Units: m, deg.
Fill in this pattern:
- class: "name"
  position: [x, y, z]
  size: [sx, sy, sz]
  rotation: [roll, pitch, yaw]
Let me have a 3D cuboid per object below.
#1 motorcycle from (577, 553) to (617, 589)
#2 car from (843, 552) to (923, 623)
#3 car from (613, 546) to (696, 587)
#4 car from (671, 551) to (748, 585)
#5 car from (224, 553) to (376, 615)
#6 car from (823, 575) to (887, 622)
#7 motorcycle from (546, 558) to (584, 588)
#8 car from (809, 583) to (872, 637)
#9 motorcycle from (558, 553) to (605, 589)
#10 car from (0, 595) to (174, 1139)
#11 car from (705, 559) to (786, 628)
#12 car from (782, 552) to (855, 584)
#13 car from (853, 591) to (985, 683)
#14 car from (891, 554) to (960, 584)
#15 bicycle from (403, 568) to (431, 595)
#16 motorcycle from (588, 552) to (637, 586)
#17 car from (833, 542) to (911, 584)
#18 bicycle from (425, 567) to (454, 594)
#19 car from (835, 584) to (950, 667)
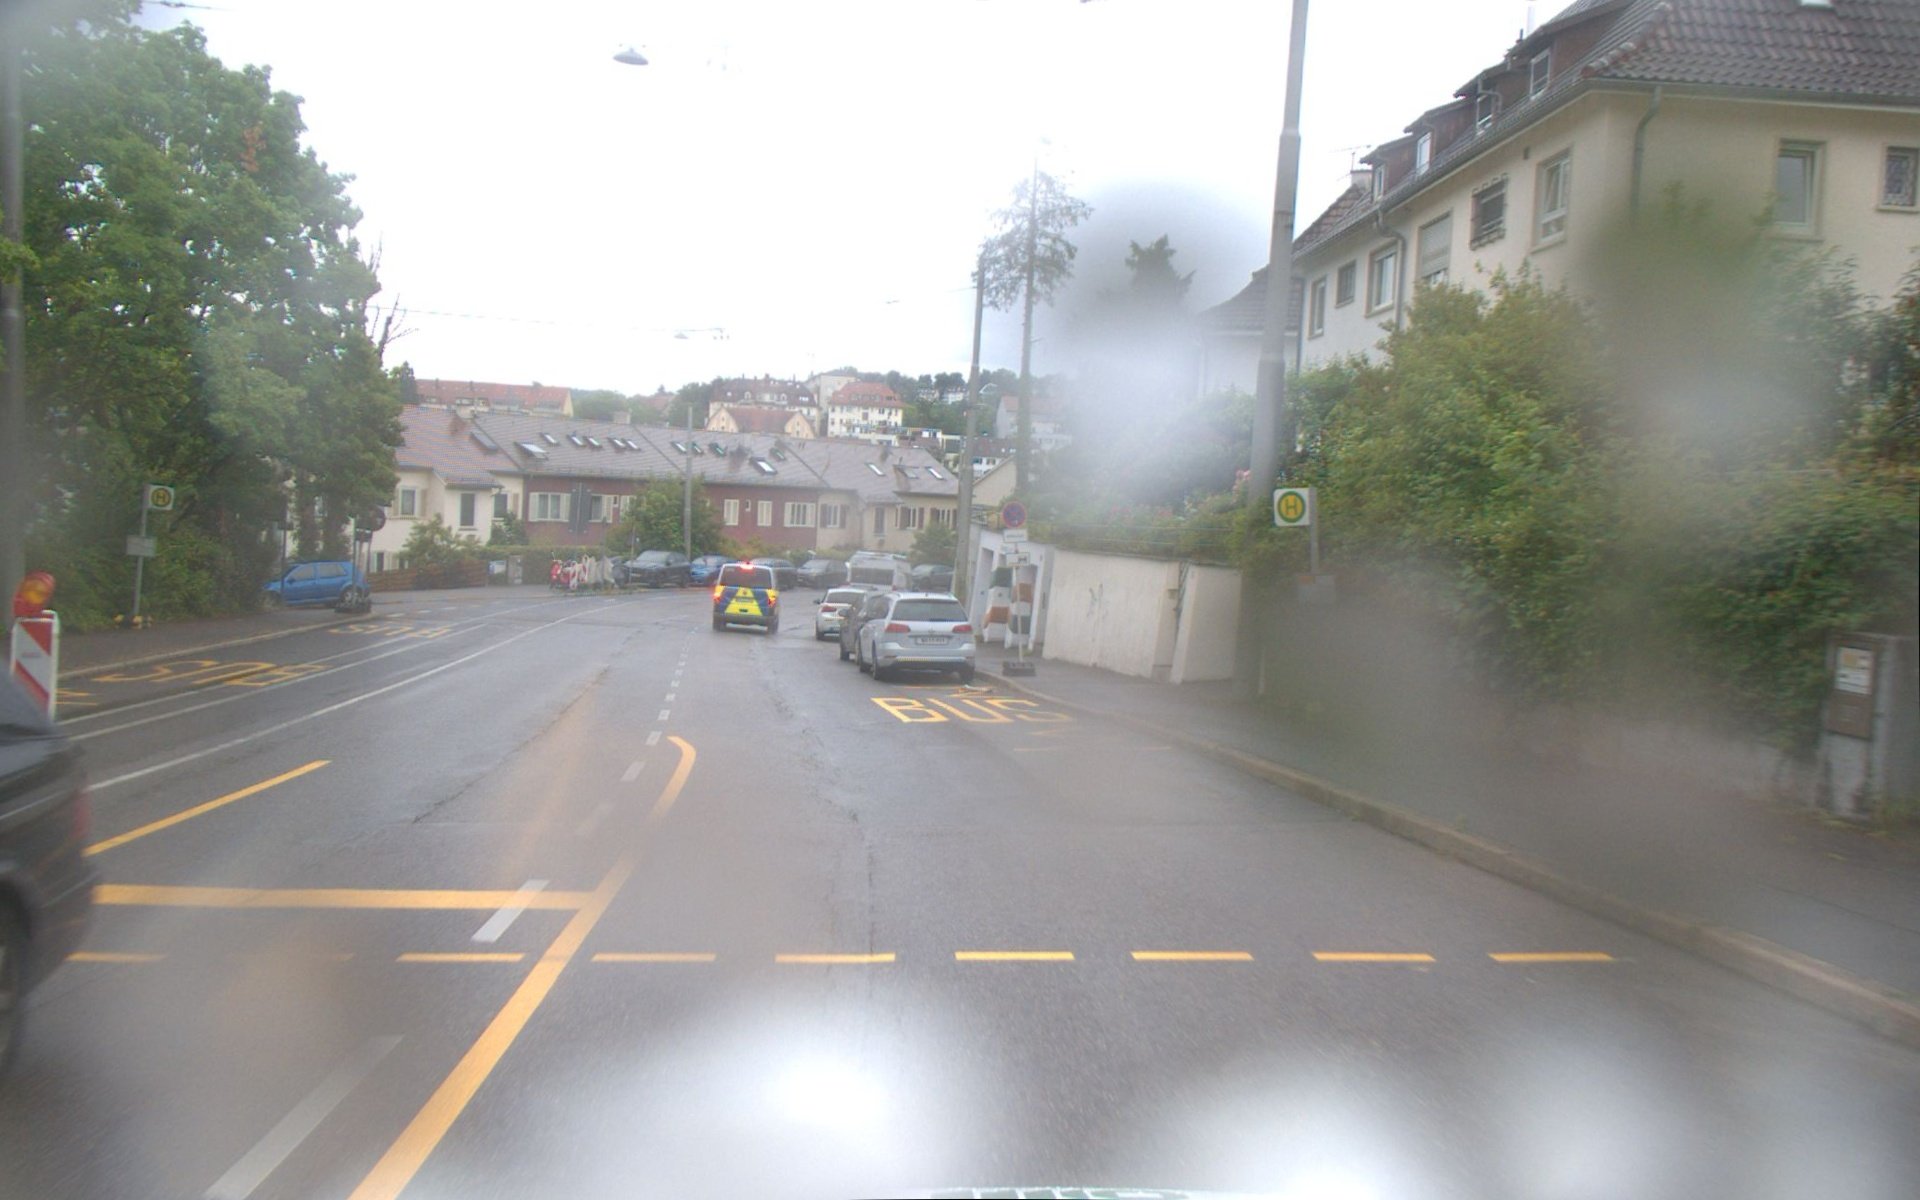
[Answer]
- class: "motorcycle"
  position: [-15.067, -1.202, 68.635]
  size: [1.776, 1.325, 0.610]
  rotation: [8, 4, 41]
- class: "car"
  position: [-2.983, -0.493, 65.439]
  size: [2.054, 2.586, 5.625]
  rotation: [3, 1, 8]
- class: "car"
  position: [-13.661, -1.524, 74.288]
  size: [1.882, 1.603, 4.392]
  rotation: [6, 3, 14]
- class: "car"
  position: [-11.975, -1.558, 79.258]
  size: [1.665, 1.428, 4.475]
  rotation: [6, 4, 19]
- class: "car"
  position: [-20.144, -0.474, 50.566]
  size: [1.812, 1.695, 3.913]
  rotation: [2, -1, 45]
- class: "car"
  position: [-3.781, -0.073, 59.909]
  size: [1.717, 1.521, 4.186]
  rotation: [3, 2, 4]
- class: "motorcycle"
  position: [-15.747, -1.076, 66.001]
  size: [0.499, 1.159, 1.923]
  rotation: [2, 2, 19]
- class: "car"
  position: [-3.505, 0.252, 47.834]
  size: [1.672, 1.439, 4.037]
  rotation: [2, 1, -6]
- class: "motorcycle"
  position: [-15.474, -1.183, 67.677]
  size: [1.764, 1.301, 0.511]
  rotation: [5, 3, 13]
- class: "car"
  position: [-3.386, 0.755, 3.348]
  size: [1.666, 1.486, 4.679]
  rotation: [1, 1, -5]
- class: "car"
  position: [-6.379, -0.210, 49.266]
  size: [2.265, 1.973, 4.318]
  rotation: [0, 1, -7]
- class: "car"
  position: [-7.619, -1.739, 89.400]
  size: [1.773, 1.501, 4.519]
  rotation: [6, 3, 25]
- class: "car"
  position: [-0.803, 0.589, 29.036]
  size: [1.748, 1.445, 4.421]
  rotation: [1, 1, -9]
- class: "car"
  position: [-2.062, -1.863, 99.560]
  size: [1.779, 1.501, 4.506]
  rotation: [7, 3, 35]
- class: "bicycle"
  position: [-21.973, -0.746, 66.915]
  size: [1.300, 1.053, 0.304]
  rotation: [-1, -3, 32]
- class: "motorcycle"
  position: [-14.735, -1.318, 70.157]
  size: [1.871, 1.292, 0.573]
  rotation: [4, 3, -19]
- class: "car"
  position: [-4.998, -2.103, 94.607]
  size: [1.816, 2.114, 5.009]
  rotation: [7, 3, 31]
- class: "bicycle"
  position: [-20.816, -0.762, 66.155]
  size: [1.275, 1.053, 0.304]
  rotation: [-1, -3, 30]
- class: "car"
  position: [-1.443, 0.485, 33.967]
  size: [1.684, 1.539, 3.988]
  rotation: [1, 1, -12]
